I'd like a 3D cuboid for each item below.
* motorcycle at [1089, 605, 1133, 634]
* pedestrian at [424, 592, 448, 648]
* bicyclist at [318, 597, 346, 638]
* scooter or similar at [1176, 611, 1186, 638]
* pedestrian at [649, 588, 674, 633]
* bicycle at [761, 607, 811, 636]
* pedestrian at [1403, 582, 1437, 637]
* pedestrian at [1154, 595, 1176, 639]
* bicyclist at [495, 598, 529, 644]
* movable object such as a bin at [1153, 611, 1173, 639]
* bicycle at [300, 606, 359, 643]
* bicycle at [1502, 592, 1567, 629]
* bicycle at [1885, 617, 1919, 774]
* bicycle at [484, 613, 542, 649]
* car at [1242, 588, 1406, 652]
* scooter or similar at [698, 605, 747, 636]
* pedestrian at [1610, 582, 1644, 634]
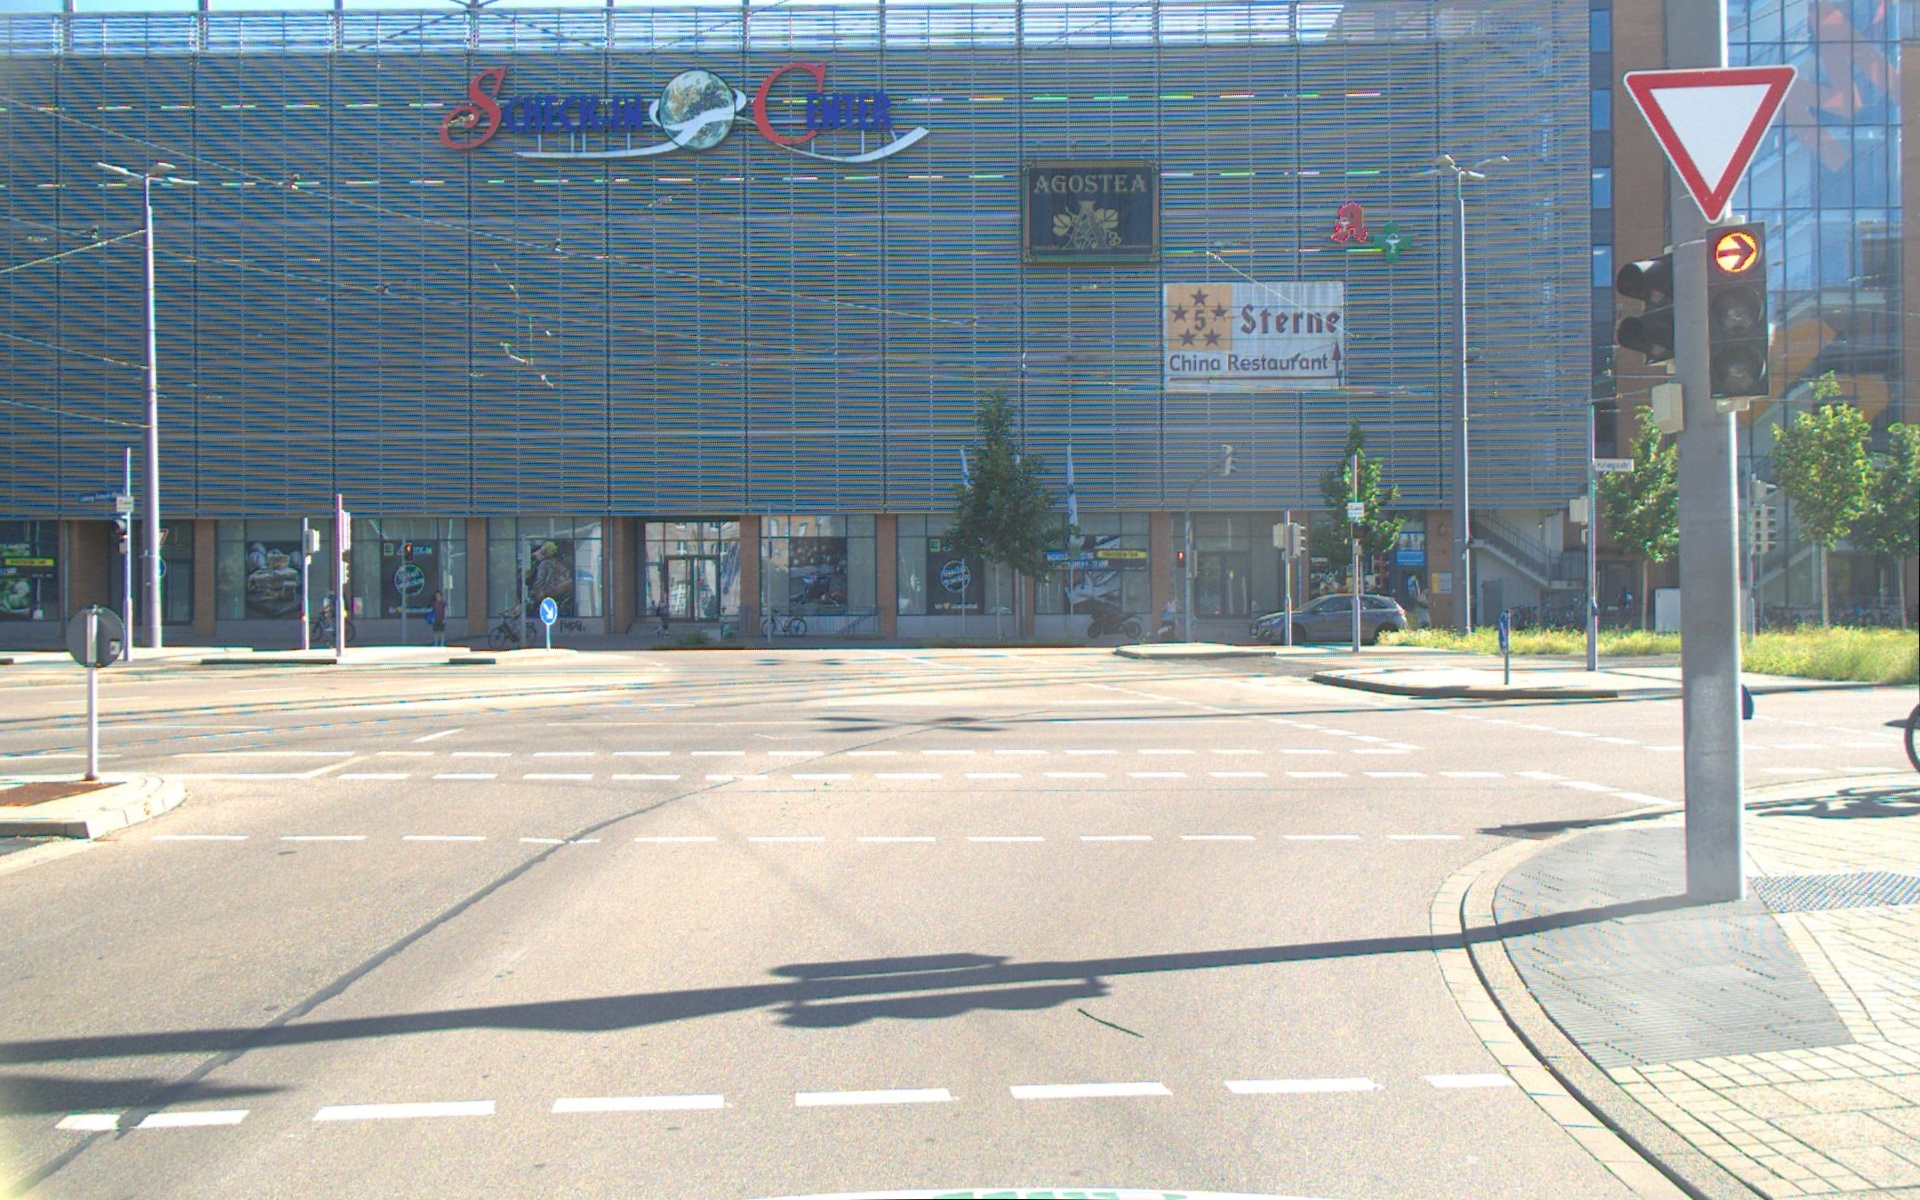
[{"bbox_3d":[5.539,0.724,60.716,1.605,1.022,0.447,1,0,6],"label":"motorcycle"},{"bbox_3d":[-17.329,0.661,54.678,0.683,1.829,0.727,-2,0,-17],"label":"pedestrian"},{"bbox_3d":[-22.195,0.603,58.437,0.738,1.410,0.565,-1,1,-1],"label":"bicyclist"},{"bbox_3d":[7.376,0.830,55.198,0.288,0.888,1.004,1,0,10],"label":"scooter or similar"},{"bbox_3d":[-10.872,0.381,60.255,0.646,1.629,0.594,1,-1,18],"label":"pedestrian"},{"bbox_3d":[-6.356,0.776,60.442,1.783,1.006,0.556,0,1,-11],"label":"bicycle"},{"bbox_3d":[16.326,0.340,58.707,0.930,1.860,0.846,-2,-4,5],"label":"pedestrian"},{"bbox_3d":[6.866,0.573,55.372,0.641,1.438,0.850,1,0,10],"label":"pedestrian"},{"bbox_3d":[-14.790,0.688,54.554,0.663,1.452,0.844,0,2,42],"label":"bicyclist"},{"bbox_3d":[6.751,0.828,54.905,0.599,0.920,0.970,1,0,10],"label":"movable object such as a bin"},{"bbox_3d":[-22.274,0.867,58.450,1.819,1.238,0.569,-1,1,-2],"label":"bicycle"},{"bbox_3d":[21.299,0.385,61.359,2.209,1.318,0.605,1,-1,-2],"label":"bicycle"},{"bbox_3d":[7.835,0.746,12.276,0.623,1.218,2.153,0,0,-3],"label":"bicycle"},{"bbox_3d":[-14.758,1.005,54.629,0.559,1.105,1.852,0,2,42],"label":"bicycle"},{"bbox_3d":[10.054,0.552,45.902,4.063,1.495,1.840,3,-1,-2],"label":"car"},{"bbox_3d":[-8.736,0.744,60.789,1.759,1.085,0.611,0,1,-9],"label":"scooter or similar"},{"bbox_3d":[24.774,0.291,61.437,1.013,1.860,1.014,-2,0,30],"label":"pedestrian"}]
